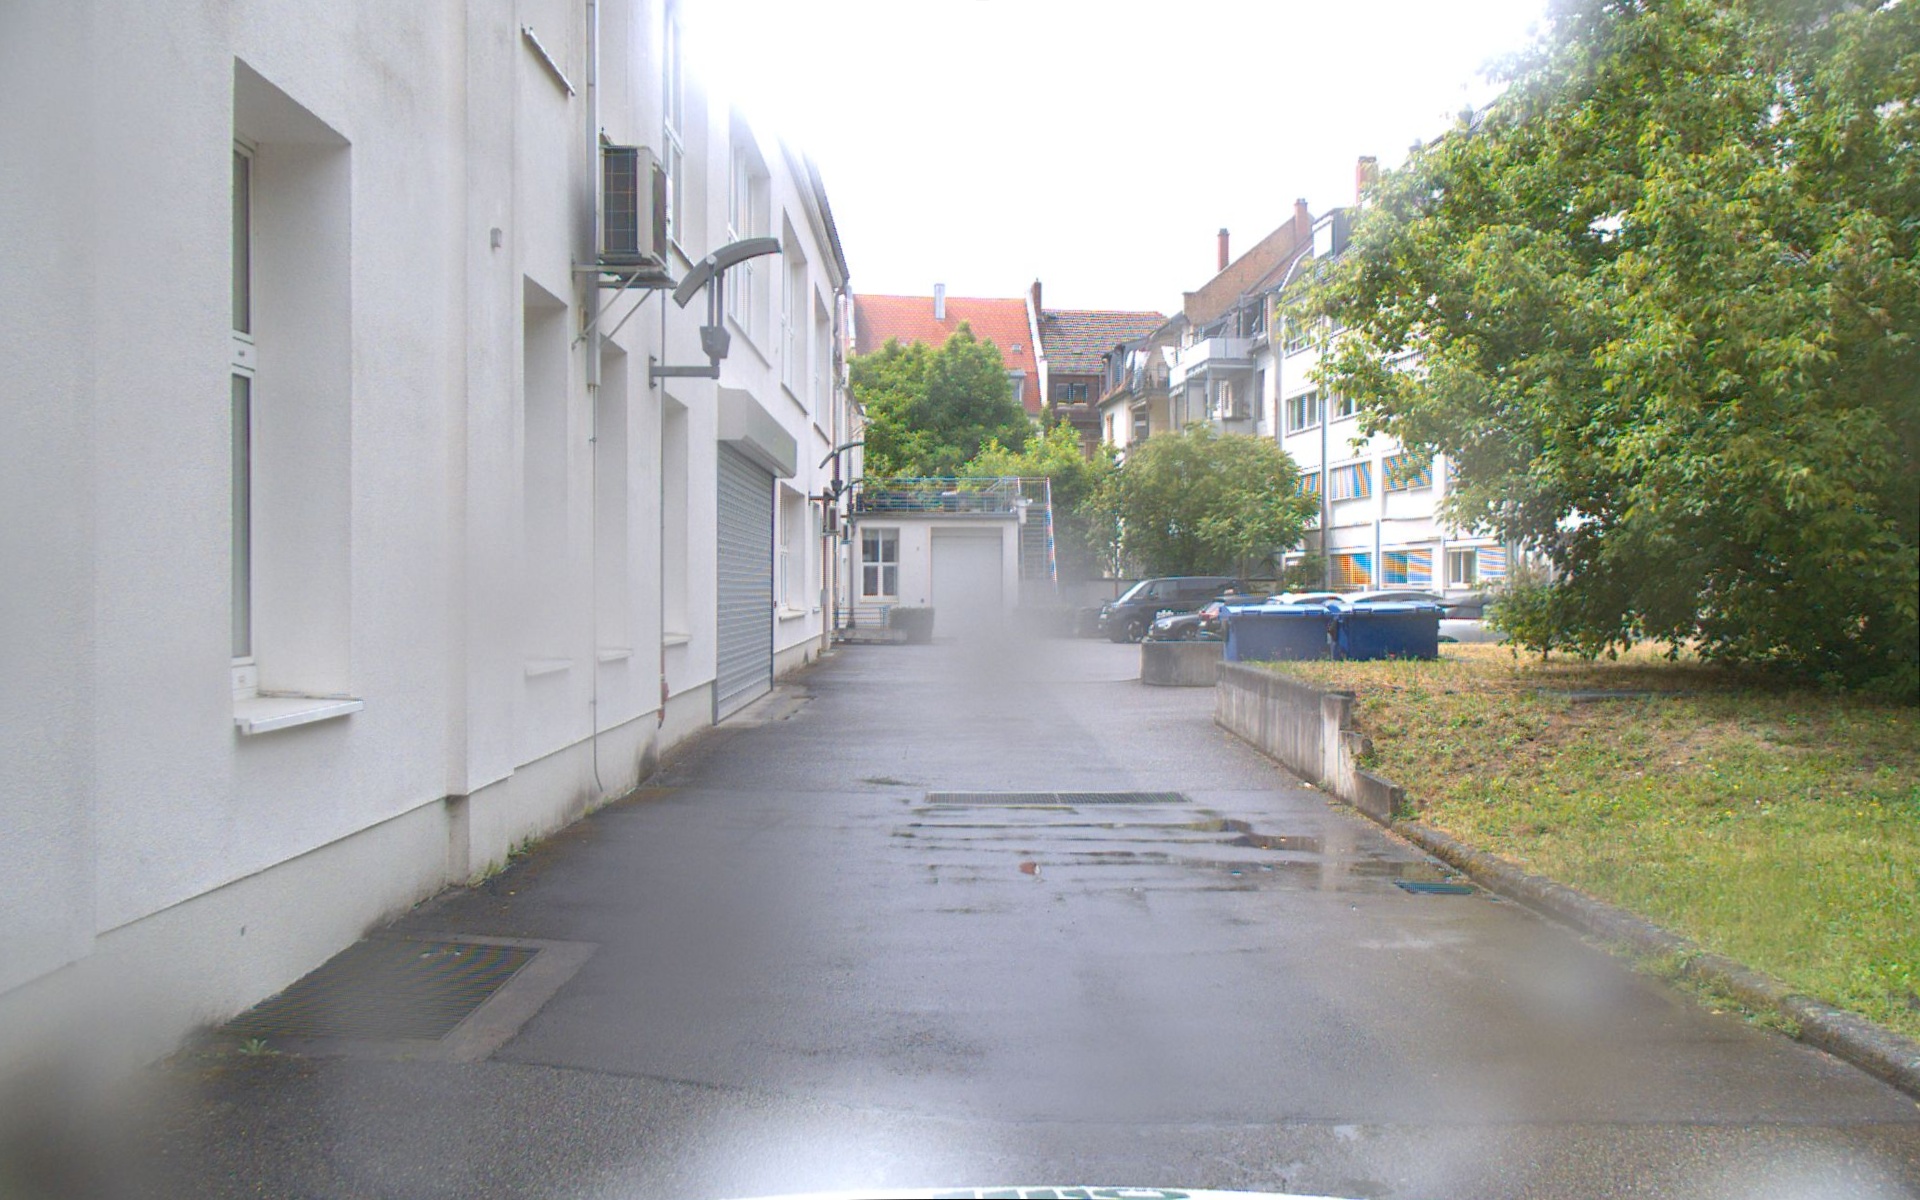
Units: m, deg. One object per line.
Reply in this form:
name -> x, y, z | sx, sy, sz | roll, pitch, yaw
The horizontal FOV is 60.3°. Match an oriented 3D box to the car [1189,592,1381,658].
car -> 7.722, 0.578, 39.461 | 4.092, 1.425, 1.936 | -1, 0, -8

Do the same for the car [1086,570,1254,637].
car -> 6.279, 0.085, 49.729 | 4.621, 1.865, 2.107 | -1, 1, -8

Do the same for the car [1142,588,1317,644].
car -> 7.134, 0.408, 43.980 | 4.271, 1.372, 1.857 | -1, 1, -8

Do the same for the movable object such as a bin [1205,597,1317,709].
movable object such as a bin -> 3.806, 0.656, 20.993 | 1.204, 1.340, 1.055 | -1, 1, -2

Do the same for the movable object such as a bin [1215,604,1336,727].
movable object such as a bin -> 3.650, 0.741, 19.233 | 1.150, 1.340, 1.055 | 1, 1, -2

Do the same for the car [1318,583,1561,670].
car -> 8.886, 0.480, 30.806 | 4.000, 1.483, 1.666 | -1, 0, -5

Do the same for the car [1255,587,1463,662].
car -> 8.643, 0.513, 36.039 | 4.018, 1.480, 1.831 | -1, 1, -5

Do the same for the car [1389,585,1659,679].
car -> 9.423, 0.514, 27.833 | 3.907, 1.378, 1.790 | -2, 1, -2

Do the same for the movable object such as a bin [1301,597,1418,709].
movable object such as a bin -> 5.065, 0.651, 21.034 | 1.204, 1.340, 1.055 | -1, 1, -2

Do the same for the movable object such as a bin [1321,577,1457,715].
movable object such as a bin -> 4.972, 0.514, 19.243 | 1.249, 1.509, 1.101 | 1, 1, -2
